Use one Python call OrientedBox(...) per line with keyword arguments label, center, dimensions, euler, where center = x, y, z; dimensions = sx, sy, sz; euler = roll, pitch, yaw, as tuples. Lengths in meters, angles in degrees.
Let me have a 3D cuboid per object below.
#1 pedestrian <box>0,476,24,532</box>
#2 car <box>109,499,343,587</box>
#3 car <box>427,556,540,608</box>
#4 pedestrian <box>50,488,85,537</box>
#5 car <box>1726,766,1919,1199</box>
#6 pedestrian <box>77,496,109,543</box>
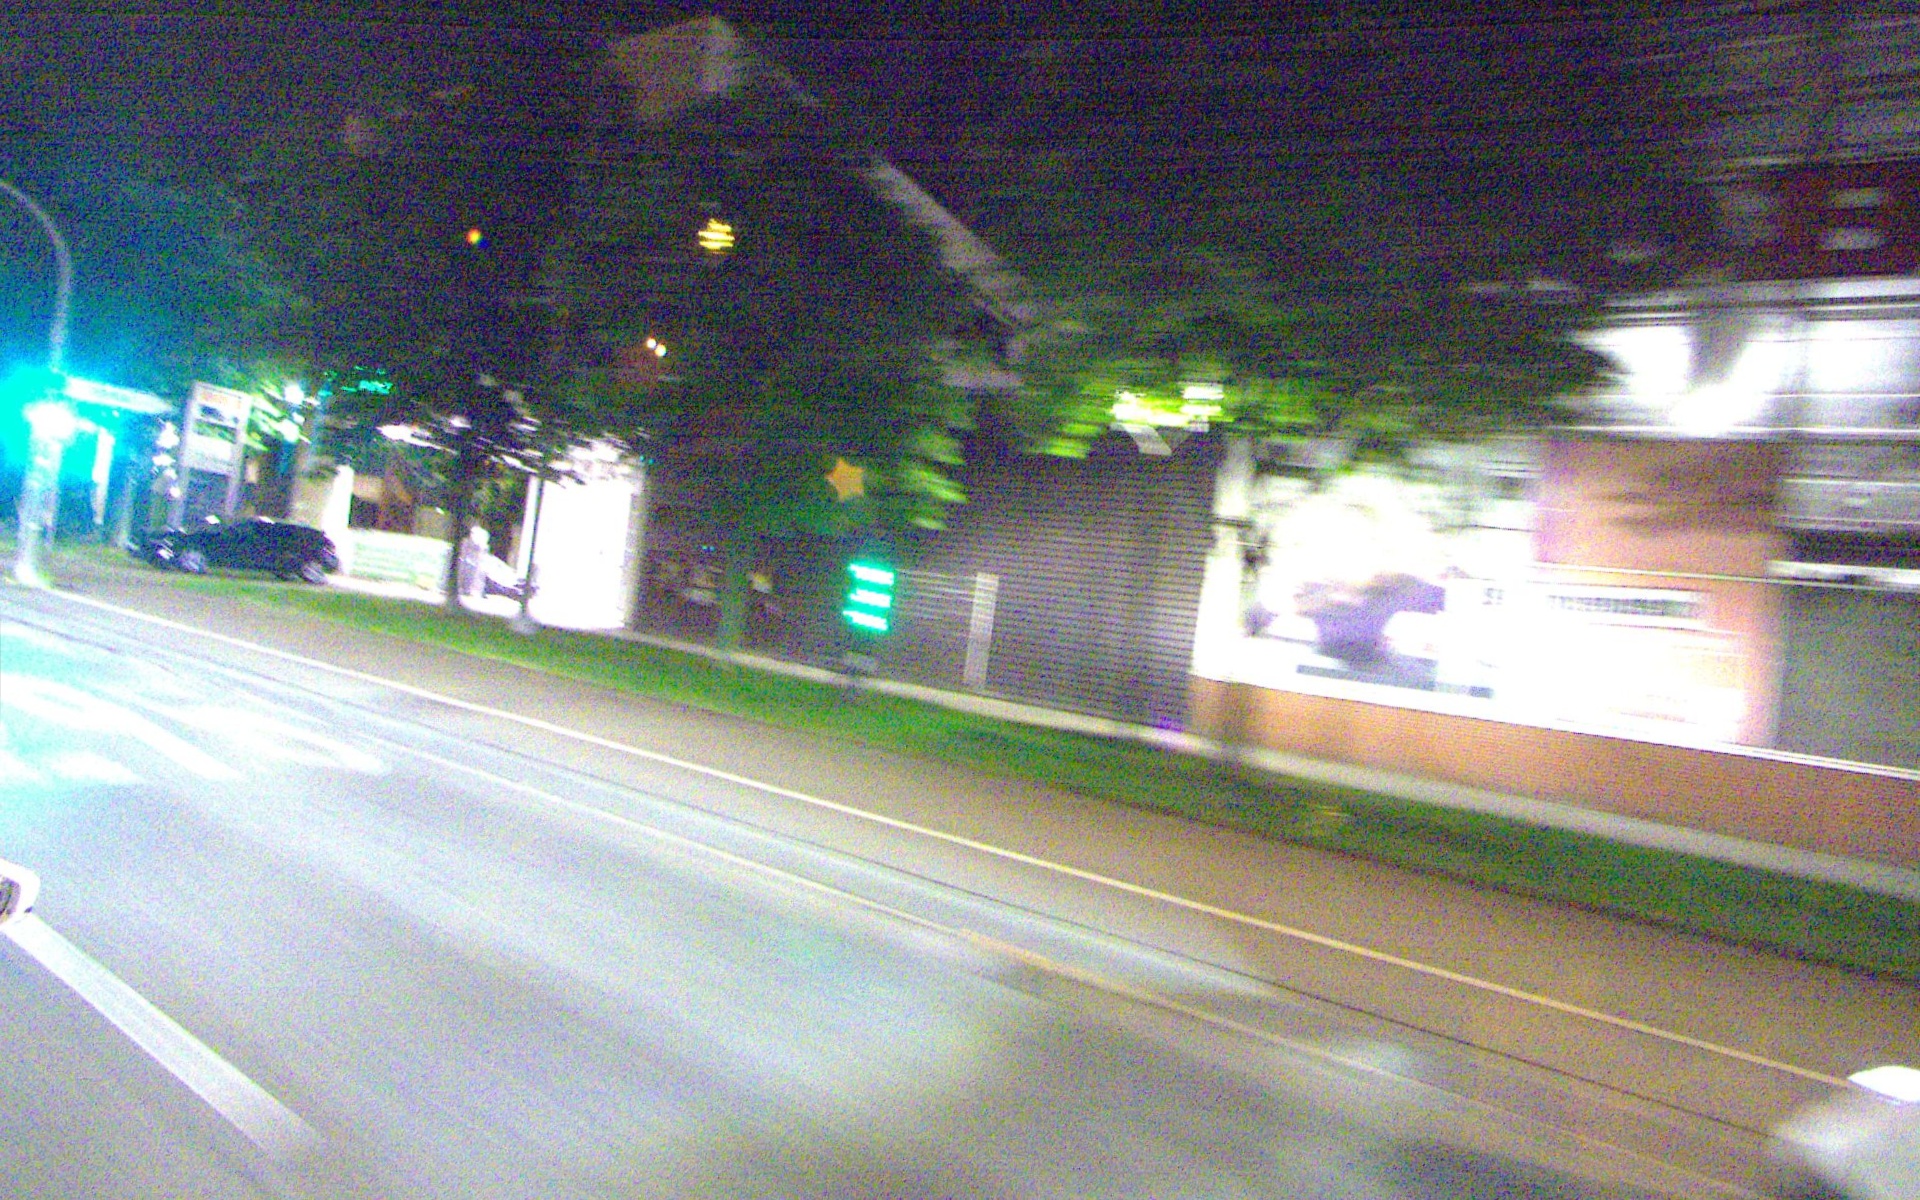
OrientedBox(label="pedestrian", center=(-33.157, -3.358, 34.957), dimensions=(0.746, 1.833, 0.622), euler=(8, 0, 32))
OrientedBox(label="car", center=(-17.500, -1.324, 24.195), dimensions=(1.757, 1.472, 4.088), euler=(7, -1, 30))
OrientedBox(label="car", center=(-15.036, -0.566, 31.711), dimensions=(3.480, 1.182, 1.460), euler=(7, -1, 31))
OrientedBox(label="pedestrian", center=(-31.944, -3.129, 36.000), dimensions=(0.668, 1.659, 0.622), euler=(8, 0, 32))
OrientedBox(label="car", center=(3.633, 1.330, 0.907), dimensions=(4.423, 1.446, 1.728), euler=(7, -2, 32))
OrientedBox(label="pedestrian", center=(-30.880, -2.872, 35.819), dimensions=(0.623, 1.552, 0.573), euler=(8, 0, 32))
